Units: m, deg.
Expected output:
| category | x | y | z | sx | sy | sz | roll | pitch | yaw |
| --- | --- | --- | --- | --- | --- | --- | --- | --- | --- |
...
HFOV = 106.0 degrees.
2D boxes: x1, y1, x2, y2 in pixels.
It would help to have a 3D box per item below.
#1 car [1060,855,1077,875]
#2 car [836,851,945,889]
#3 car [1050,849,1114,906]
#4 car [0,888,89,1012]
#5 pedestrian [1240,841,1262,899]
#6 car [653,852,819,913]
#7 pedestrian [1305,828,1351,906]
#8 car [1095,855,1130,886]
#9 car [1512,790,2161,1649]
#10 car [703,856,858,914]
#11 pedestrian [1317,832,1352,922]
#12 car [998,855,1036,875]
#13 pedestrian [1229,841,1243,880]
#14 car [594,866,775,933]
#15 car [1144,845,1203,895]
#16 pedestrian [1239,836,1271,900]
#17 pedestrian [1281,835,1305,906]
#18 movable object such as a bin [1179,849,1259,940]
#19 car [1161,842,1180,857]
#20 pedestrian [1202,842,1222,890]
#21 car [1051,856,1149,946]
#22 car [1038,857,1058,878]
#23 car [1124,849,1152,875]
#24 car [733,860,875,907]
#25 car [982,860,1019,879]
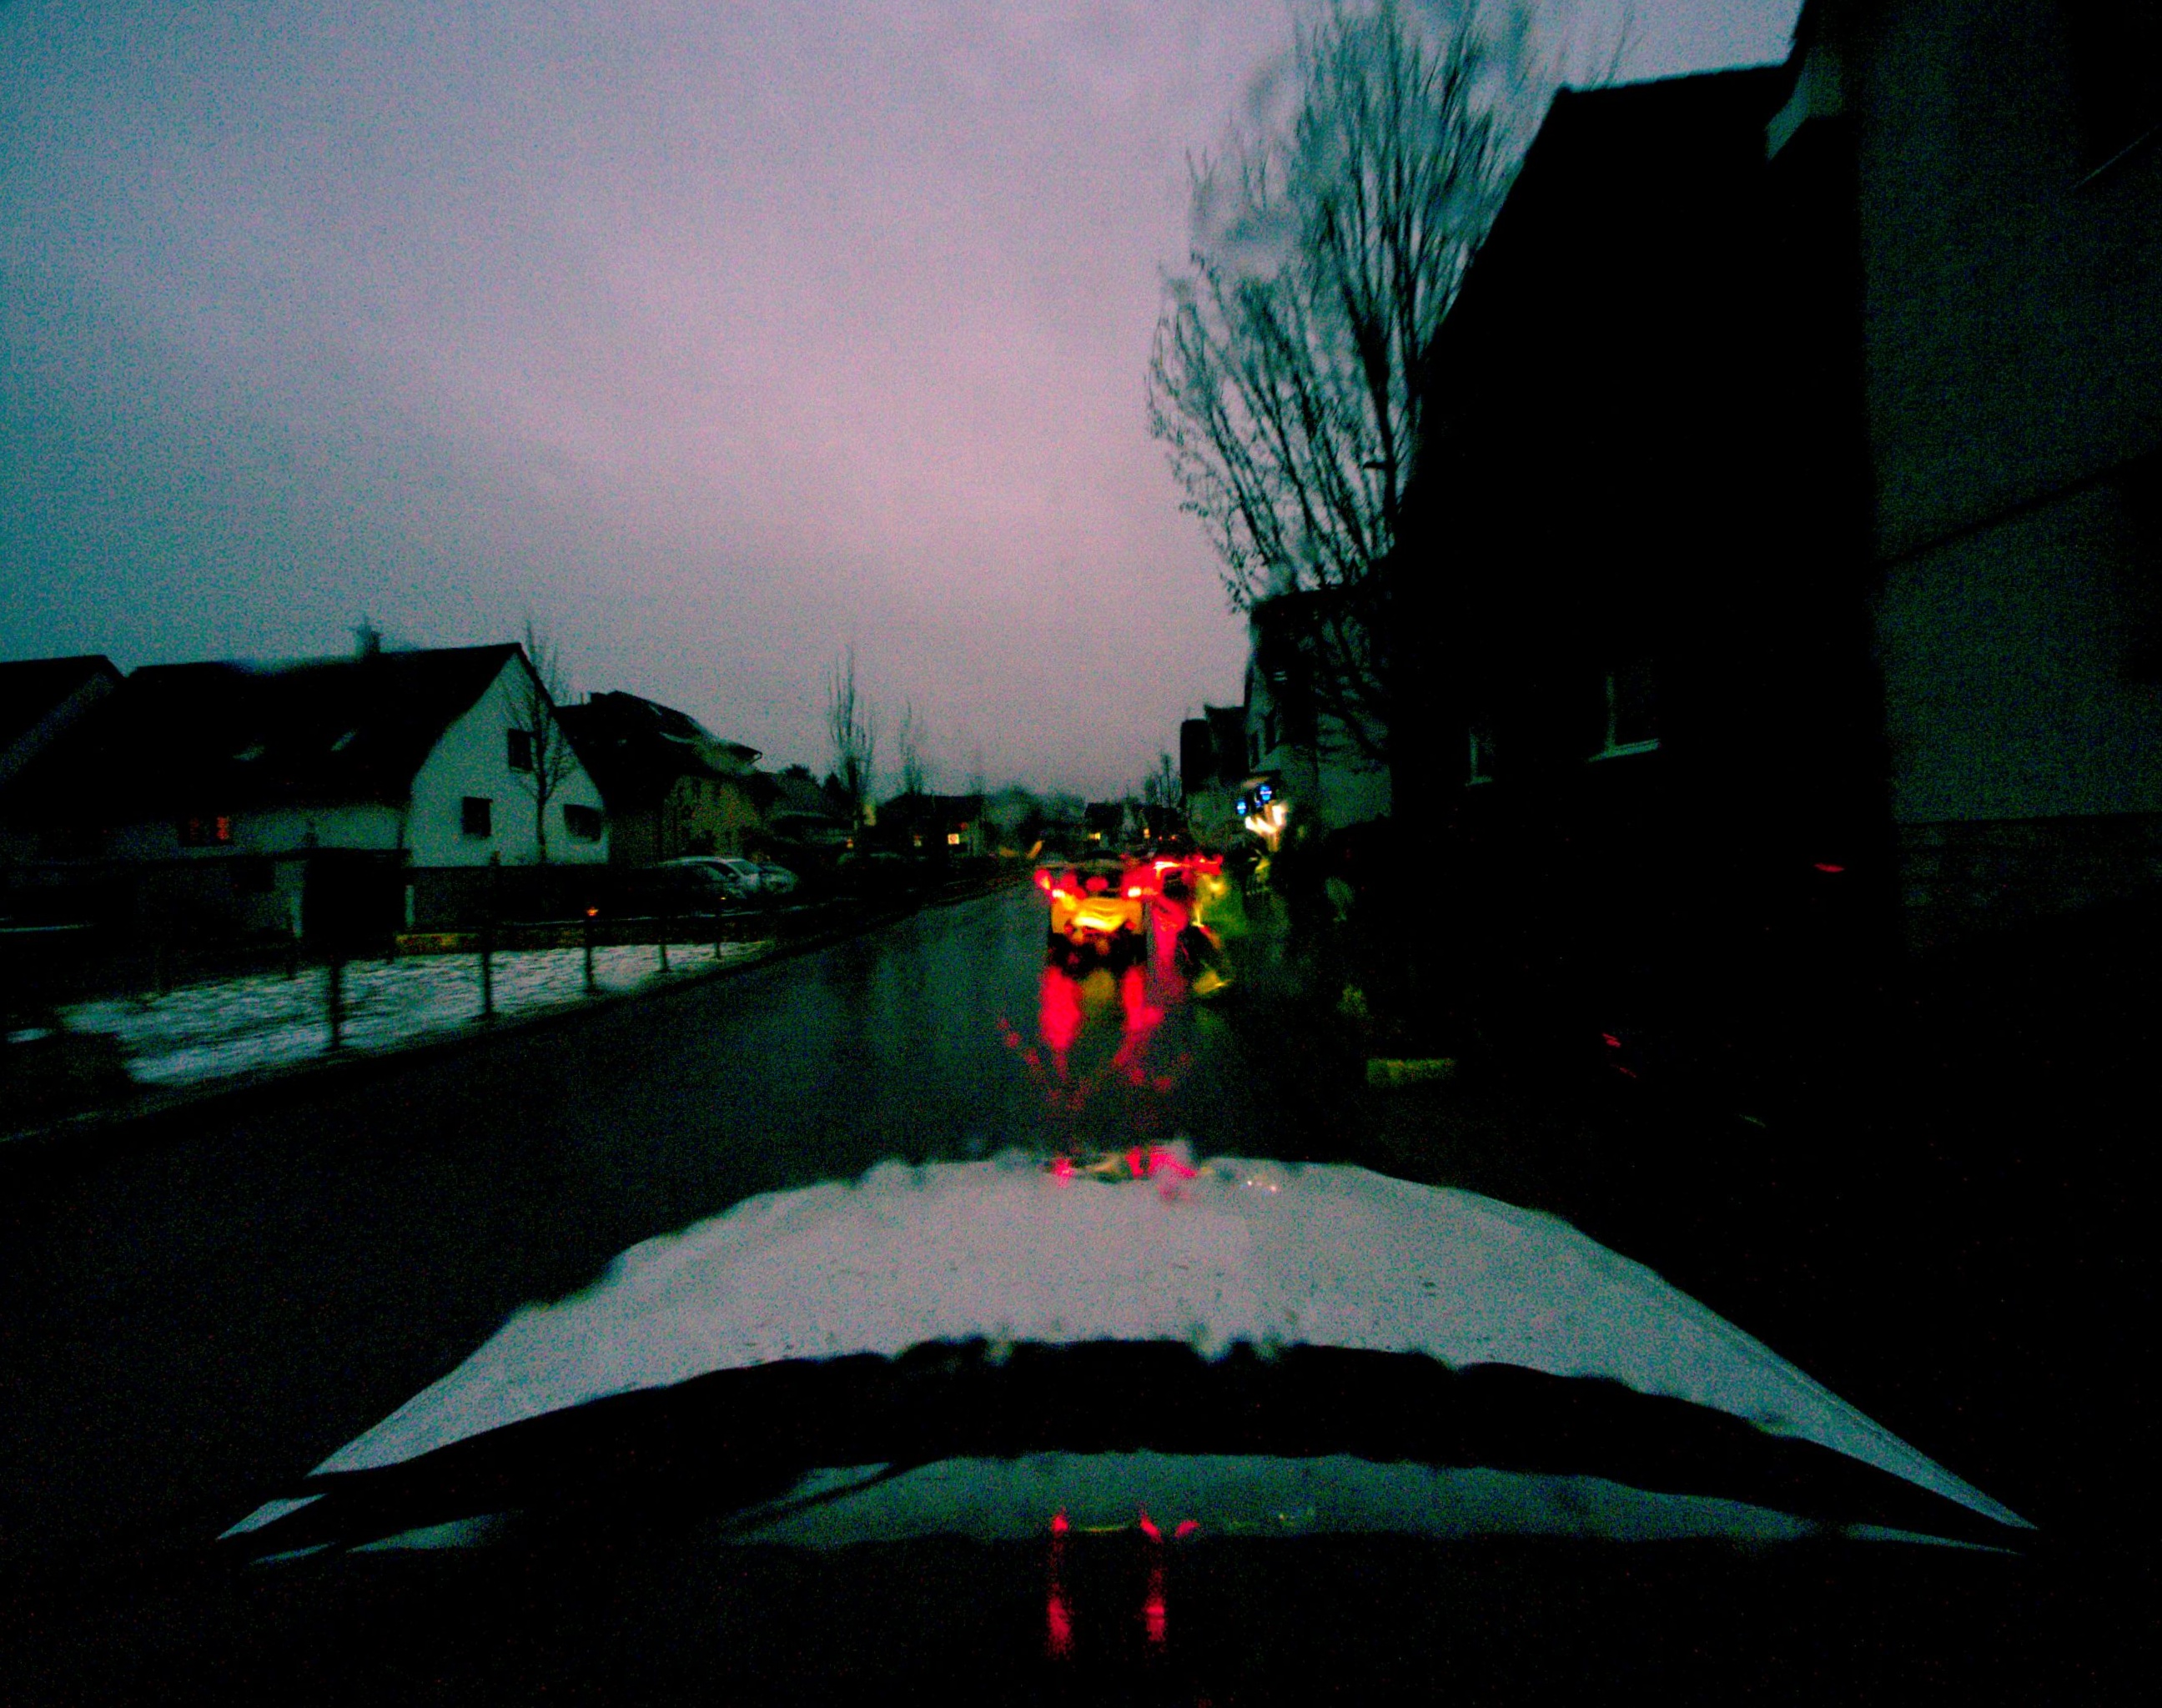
| category | x | y | z | sx | sy | sz | roll | pitch | yaw |
| --- | --- | --- | --- | --- | --- | --- | --- | --- | --- |
| car | -1.374 | 1.278 | 93.381 | 1.913 | 2.216 | 3.973 | -1 | -2 | 0 |
| car | -8.909 | 0.739 | 38.422 | 4.612 | 1.667 | 1.999 | -1 | -1 | -1 |
| car | 0.093 | 0.670 | 25.306 | 1.759 | 1.628 | 3.589 | -1 | 0 | 3 |
| car | -14.348 | 1.293 | 8.637 | 1.794 | 1.482 | 4.577 | -4 | 0 | 4 |
| pedestrian | 5.035 | 0.455 | 24.074 | 0.476 | 1.630 | 1.023 | -3 | 0 | 15 |
| car | -9.311 | 0.764 | 22.124 | 3.772 | 1.523 | 1.718 | -1 | -1 | 8 |
| pedestrian | 5.547 | 0.292 | 18.351 | 0.743 | 1.679 | 1.054 | -4 | -2 | 8 |
| car | 1.415 | 0.744 | 37.277 | 1.535 | 1.331 | 3.312 | -1 | 0 | 1 |
| car | 2.709 | 0.598 | 1.510 | 1.721 | 1.464 | 4.203 | -5 | 0 | 4 |
| car | -9.068 | 0.925 | 24.703 | 4.074 | 1.608 | 1.589 | -1 | -1 | 4 |
| pedestrian | 4.847 | 0.447 | 15.615 | 0.525 | 1.653 | 0.956 | -1 | -3 | 11 |
| car | -7.304 | 1.312 | 92.435 | 2.011 | 2.167 | 4.331 | 2 | -3 | -45 |
| pedestrian | 7.102 | 0.306 | 37.295 | 0.614 | 1.727 | 0.503 | -1 | -3 | 13 |
| car | -9.306 | 1.041 | 19.311 | 3.433 | 1.372 | 1.601 | -2 | 0 | 0 |
| car | 3.397 | 0.563 | 30.669 | 1.729 | 1.692 | 4.386 | -2 | 0 | 1 |
| pedestrian | 4.868 | 0.372 | 22.734 | 0.707 | 1.715 | 1.038 | -3 | 0 | 15 |
| pedestrian | 5.483 | 0.411 | 21.073 | 0.525 | 1.800 | 0.867 | -1 | 0 | 11 |
| movable object such as a bin | 2.392 | 0.670 | 14.335 | 1.124 | 1.420 | 1.419 | -5 | 0 | 3 |
| car | 12.012 | -0.559 | 108.849 | 1.857 | 1.835 | 4.460 | -1 | -2 | 14 |
| pedestrian | 4.782 | 0.450 | 29.761 | 0.571 | 1.699 | 0.653 | -4 | -1 | 3 |
| car | 0.342 | 0.758 | 14.578 | 1.557 | 1.412 | 3.019 | -1 | 0 | 2 |
| car | -3.487 | 1.434 | 85.552 | 1.913 | 2.028 | 3.973 | -1 | -2 | 0 |
| car | 4.370 | 0.627 | 62.576 | 1.990 | 1.865 | 4.084 | -1 | -1 | 2 |
| car | -9.362 | 0.997 | 27.734 | 4.109 | 1.498 | 1.881 | -1 | -2 | 4 |
| car | -8.809 | 1.684 | 89.085 | 1.833 | 1.976 | 4.117 | 2 | -3 | -45 |
